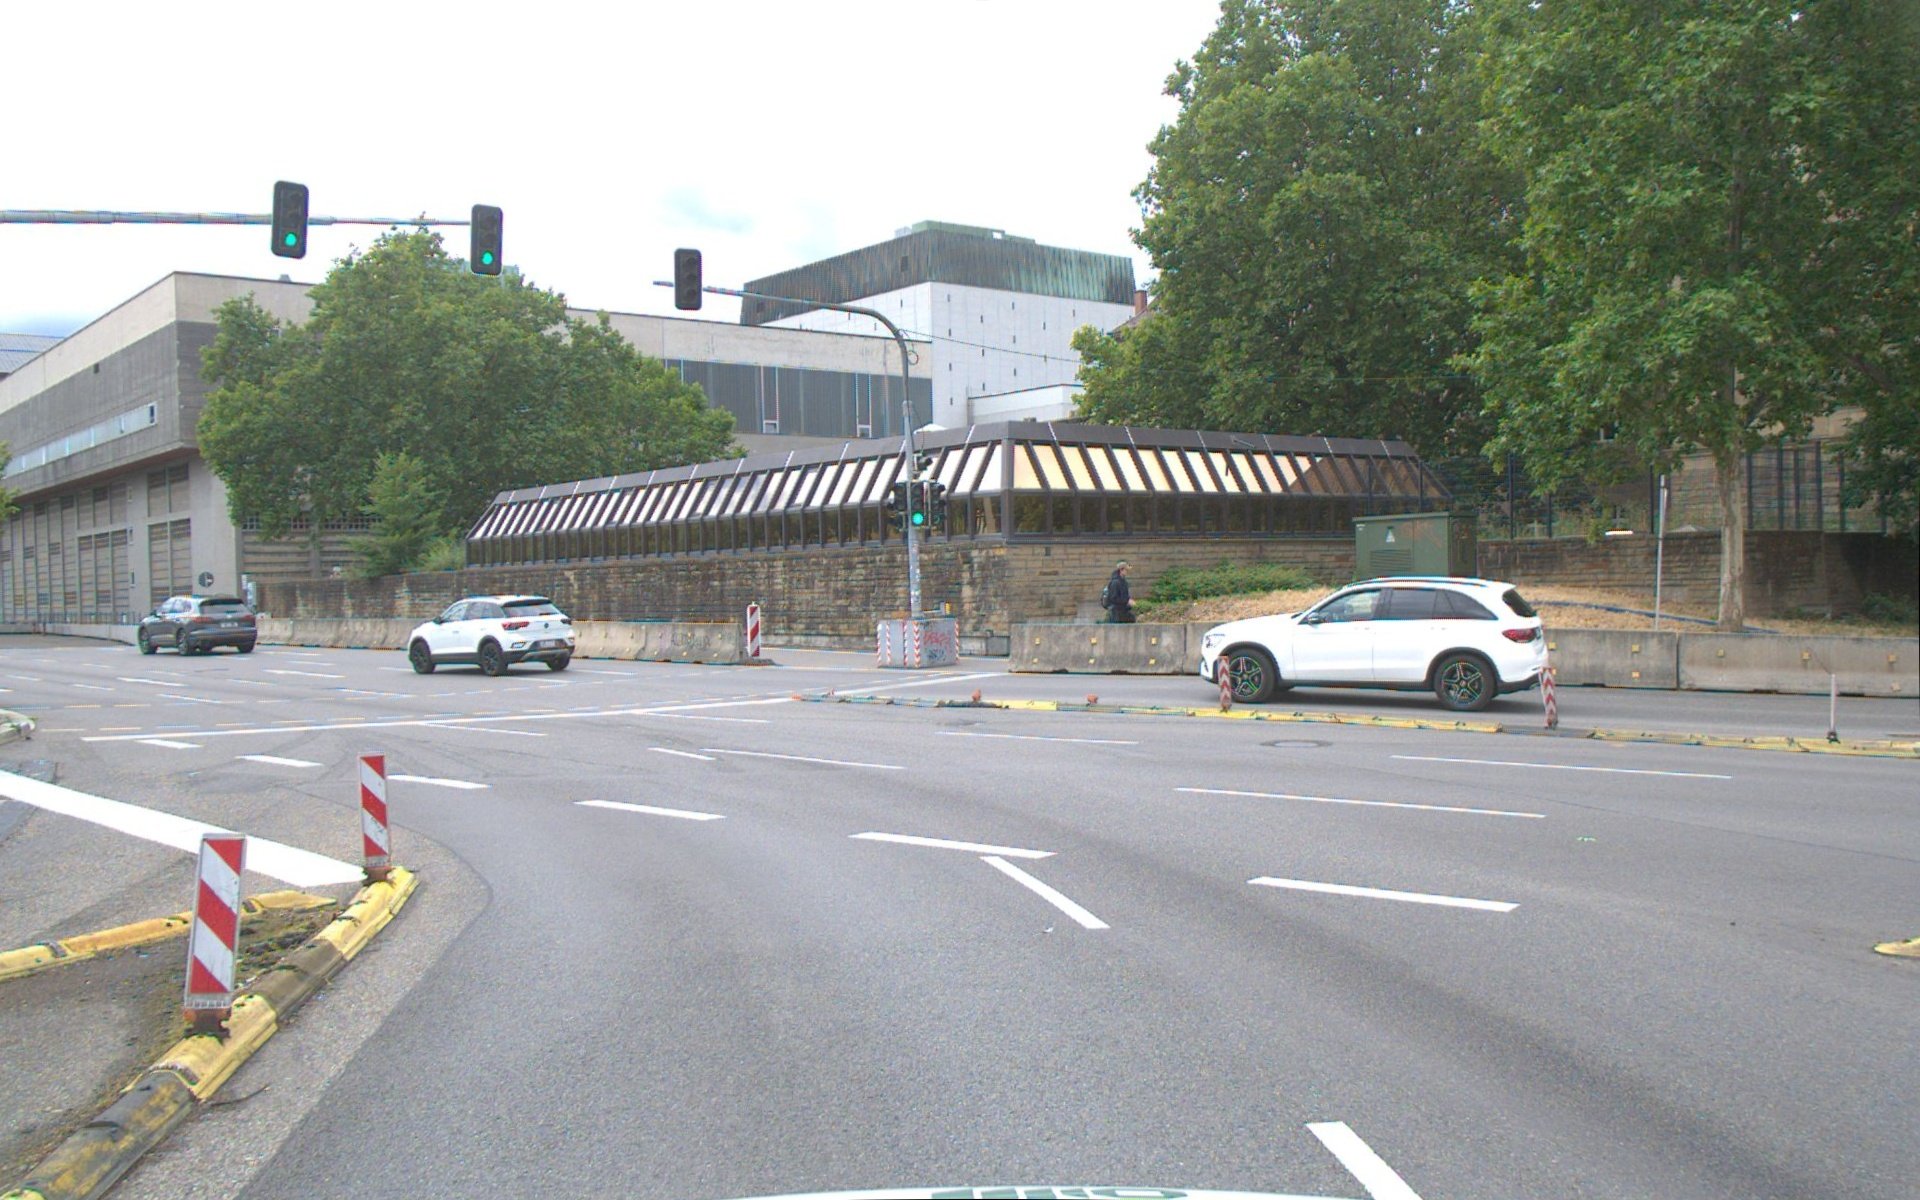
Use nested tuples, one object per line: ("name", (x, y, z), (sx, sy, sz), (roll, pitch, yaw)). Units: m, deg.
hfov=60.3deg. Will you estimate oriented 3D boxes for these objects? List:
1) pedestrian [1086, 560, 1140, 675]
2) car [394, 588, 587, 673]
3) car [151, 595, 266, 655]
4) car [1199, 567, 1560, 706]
("pedestrian", (2.776, 0.314, 29.985), (0.830, 2.049, 0.623), (-1, -1, 19))
("car", (-9.844, 0.636, 34.537), (4.250, 1.595, 1.748), (-1, 2, 40))
("car", (-22.021, 0.688, 48.372), (1.814, 1.595, 4.411), (-3, 2, -42))
("car", (5.624, 0.415, 22.203), (4.447, 1.671, 1.817), (0, 3, 25))
